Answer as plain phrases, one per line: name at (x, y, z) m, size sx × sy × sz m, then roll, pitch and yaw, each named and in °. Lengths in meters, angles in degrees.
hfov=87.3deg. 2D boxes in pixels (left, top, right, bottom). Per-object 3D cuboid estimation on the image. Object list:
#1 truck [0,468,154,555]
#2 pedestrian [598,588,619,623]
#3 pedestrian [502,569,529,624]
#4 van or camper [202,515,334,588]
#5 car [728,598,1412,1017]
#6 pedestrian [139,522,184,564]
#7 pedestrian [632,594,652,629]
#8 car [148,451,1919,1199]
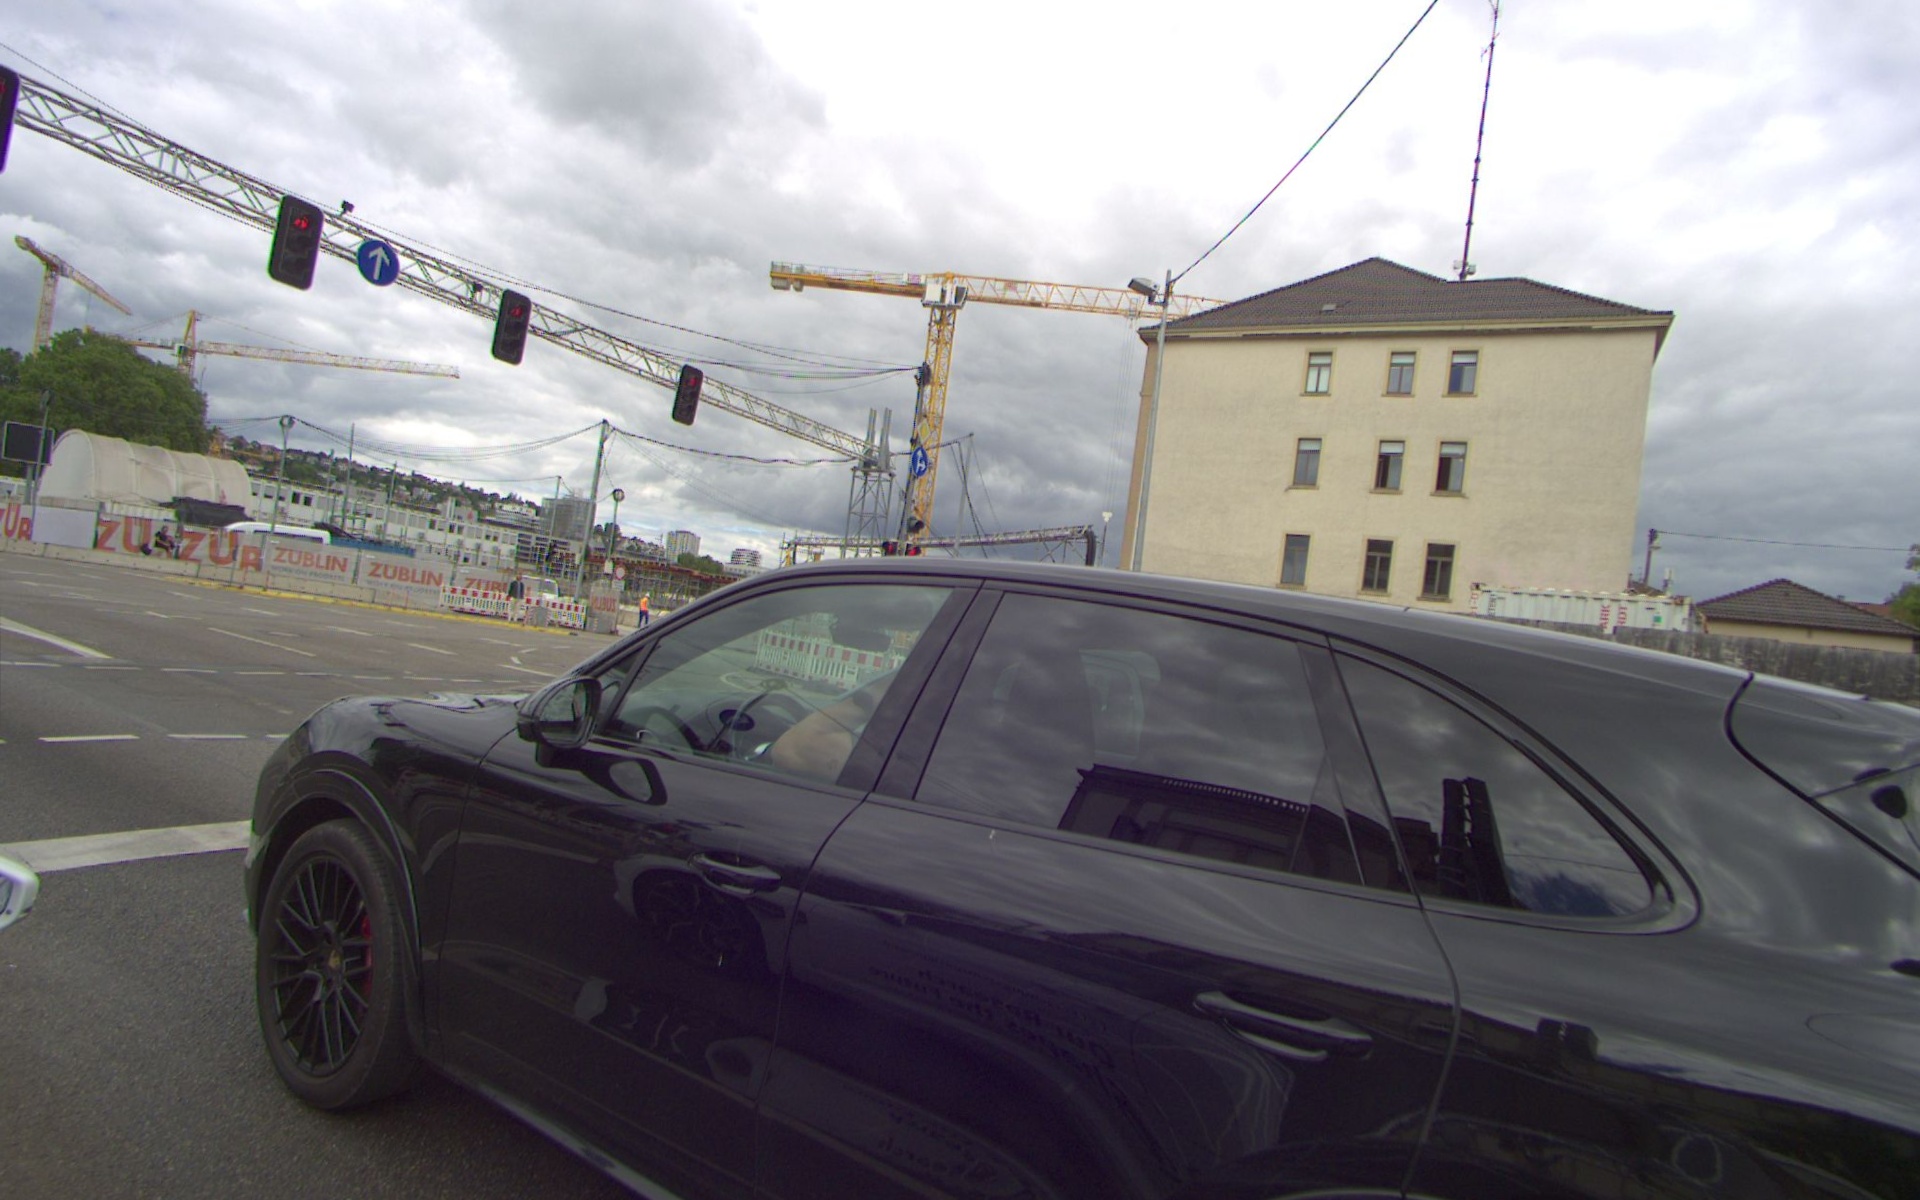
truck at (-57.899, -5.789, 61.935) m, size 3.875 × 4.086 × 13.089 m, roll 8°, pitch -2°, yaw 12°
pedestrian at (-19.223, 0.309, 55.032) m, size 0.607 × 1.816 × 0.654 m, roll 7°, pitch -1°, yaw 23°
pedestrian at (-17.236, -0.121, 39.014) m, size 0.647 × 2.037 × 0.513 m, roll 8°, pitch -1°, yaw -33°
van or camper at (-29.813, -2.069, 43.412) m, size 4.204 × 2.384 × 1.976 m, roll 10°, pitch -3°, yaw -44°
car at (0.586, 1.047, 6.369) m, size 3.818 × 1.561 × 1.667 m, roll 7°, pitch -2°, yaw 33°
pedestrian at (-30.326, -2.151, 38.210) m, size 0.888 × 1.393 × 0.800 m, roll 8°, pitch -1°, yaw 3°
pedestrian at (-16.897, 0.626, 53.534) m, size 0.508 × 1.737 × 0.654 m, roll 7°, pitch -1°, yaw 21°
car at (0.029, 0.719, 2.693) m, size 4.559 × 1.705 × 1.959 m, roll 7°, pitch -2°, yaw 33°
